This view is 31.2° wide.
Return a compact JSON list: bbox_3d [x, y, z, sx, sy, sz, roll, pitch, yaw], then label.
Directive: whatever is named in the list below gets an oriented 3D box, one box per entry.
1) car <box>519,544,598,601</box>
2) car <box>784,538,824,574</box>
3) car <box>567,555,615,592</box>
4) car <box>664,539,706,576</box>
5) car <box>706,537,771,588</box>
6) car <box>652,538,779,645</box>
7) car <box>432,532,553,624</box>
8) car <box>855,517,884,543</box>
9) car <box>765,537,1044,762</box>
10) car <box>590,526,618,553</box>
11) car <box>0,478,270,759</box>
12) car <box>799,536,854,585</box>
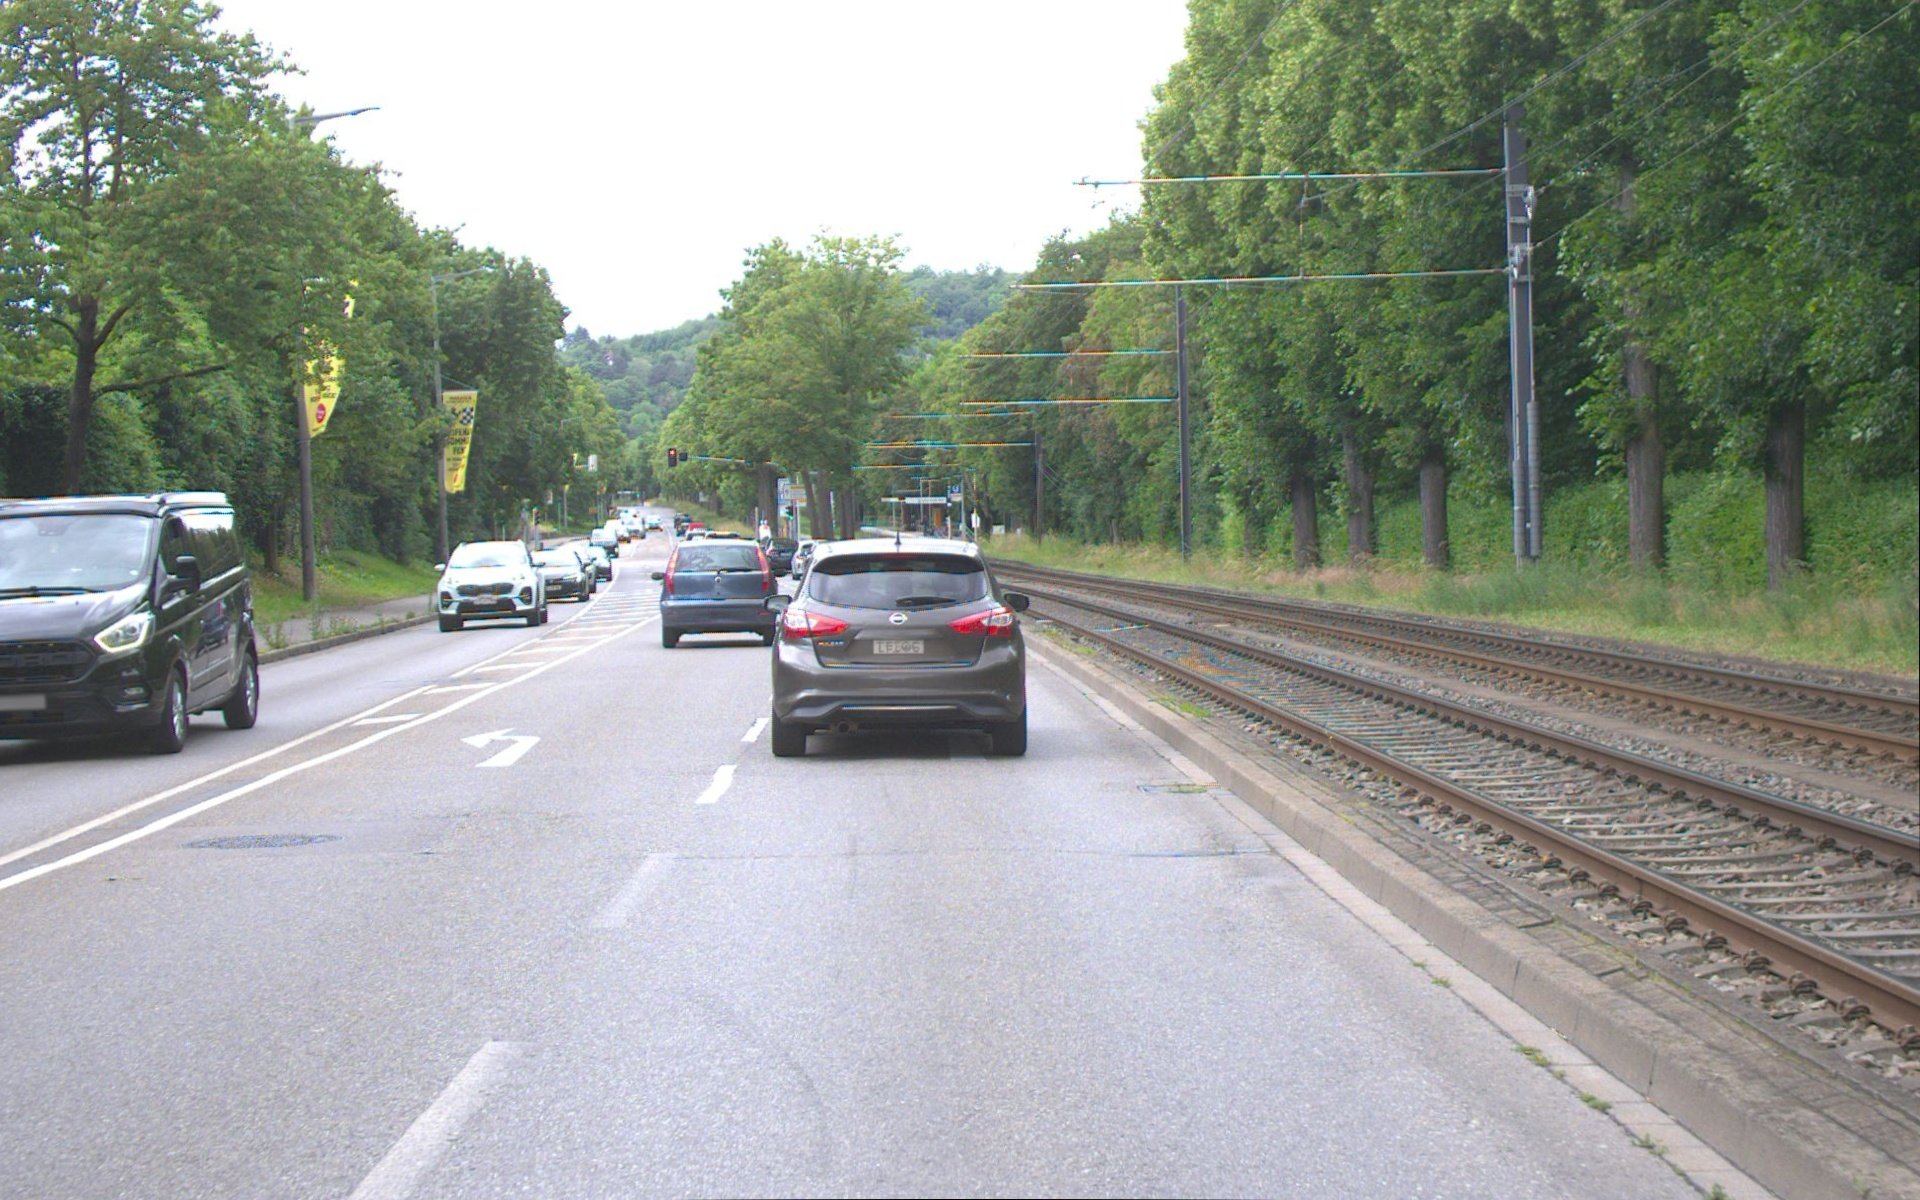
[{"bbox_3d":[-10.677,-0.756,91.589,1.766,1.395,4.216,-3,1,-3],"label":"car"},{"bbox_3d":[-6.856,-1.909,151.061,1.715,1.545,4.000,0,0,-2],"label":"car"},{"bbox_3d":[-15.061,-1.109,140.469,1.841,1.371,4.449,-3,1,-6],"label":"car"},{"bbox_3d":[-12.959,-1.998,162.321,1.700,1.708,4.000,0,1,0],"label":"car"},{"bbox_3d":[-6.307,-1.069,98.082,1.715,1.430,4.000,0,0,-2],"label":"car"},{"bbox_3d":[-3.412,-0.150,48.515,1.699,1.438,4.001,0,1,-3],"label":"car"},{"bbox_3d":[-8.820,-0.435,65.099,1.841,1.615,4.160,-3,1,-3],"label":"car"},{"bbox_3d":[-5.999,-4.623,227.989,1.715,1.657,3.708,0,0,-4],"label":"car"},{"bbox_3d":[-0.394,0.299,24.946,1.850,1.488,4.000,0,1,-1],"label":"car"},{"bbox_3d":[-23.522,-3.990,227.424,1.715,1.754,4.001,0,0,-4],"label":"car"},{"bbox_3d":[-7.074,0.109,28.013,1.993,2.029,5.117,-3,1,-3],"label":"car"},{"bbox_3d":[-4.290,-1.270,110.837,1.715,1.545,4.000,0,0,-2],"label":"car"}]
